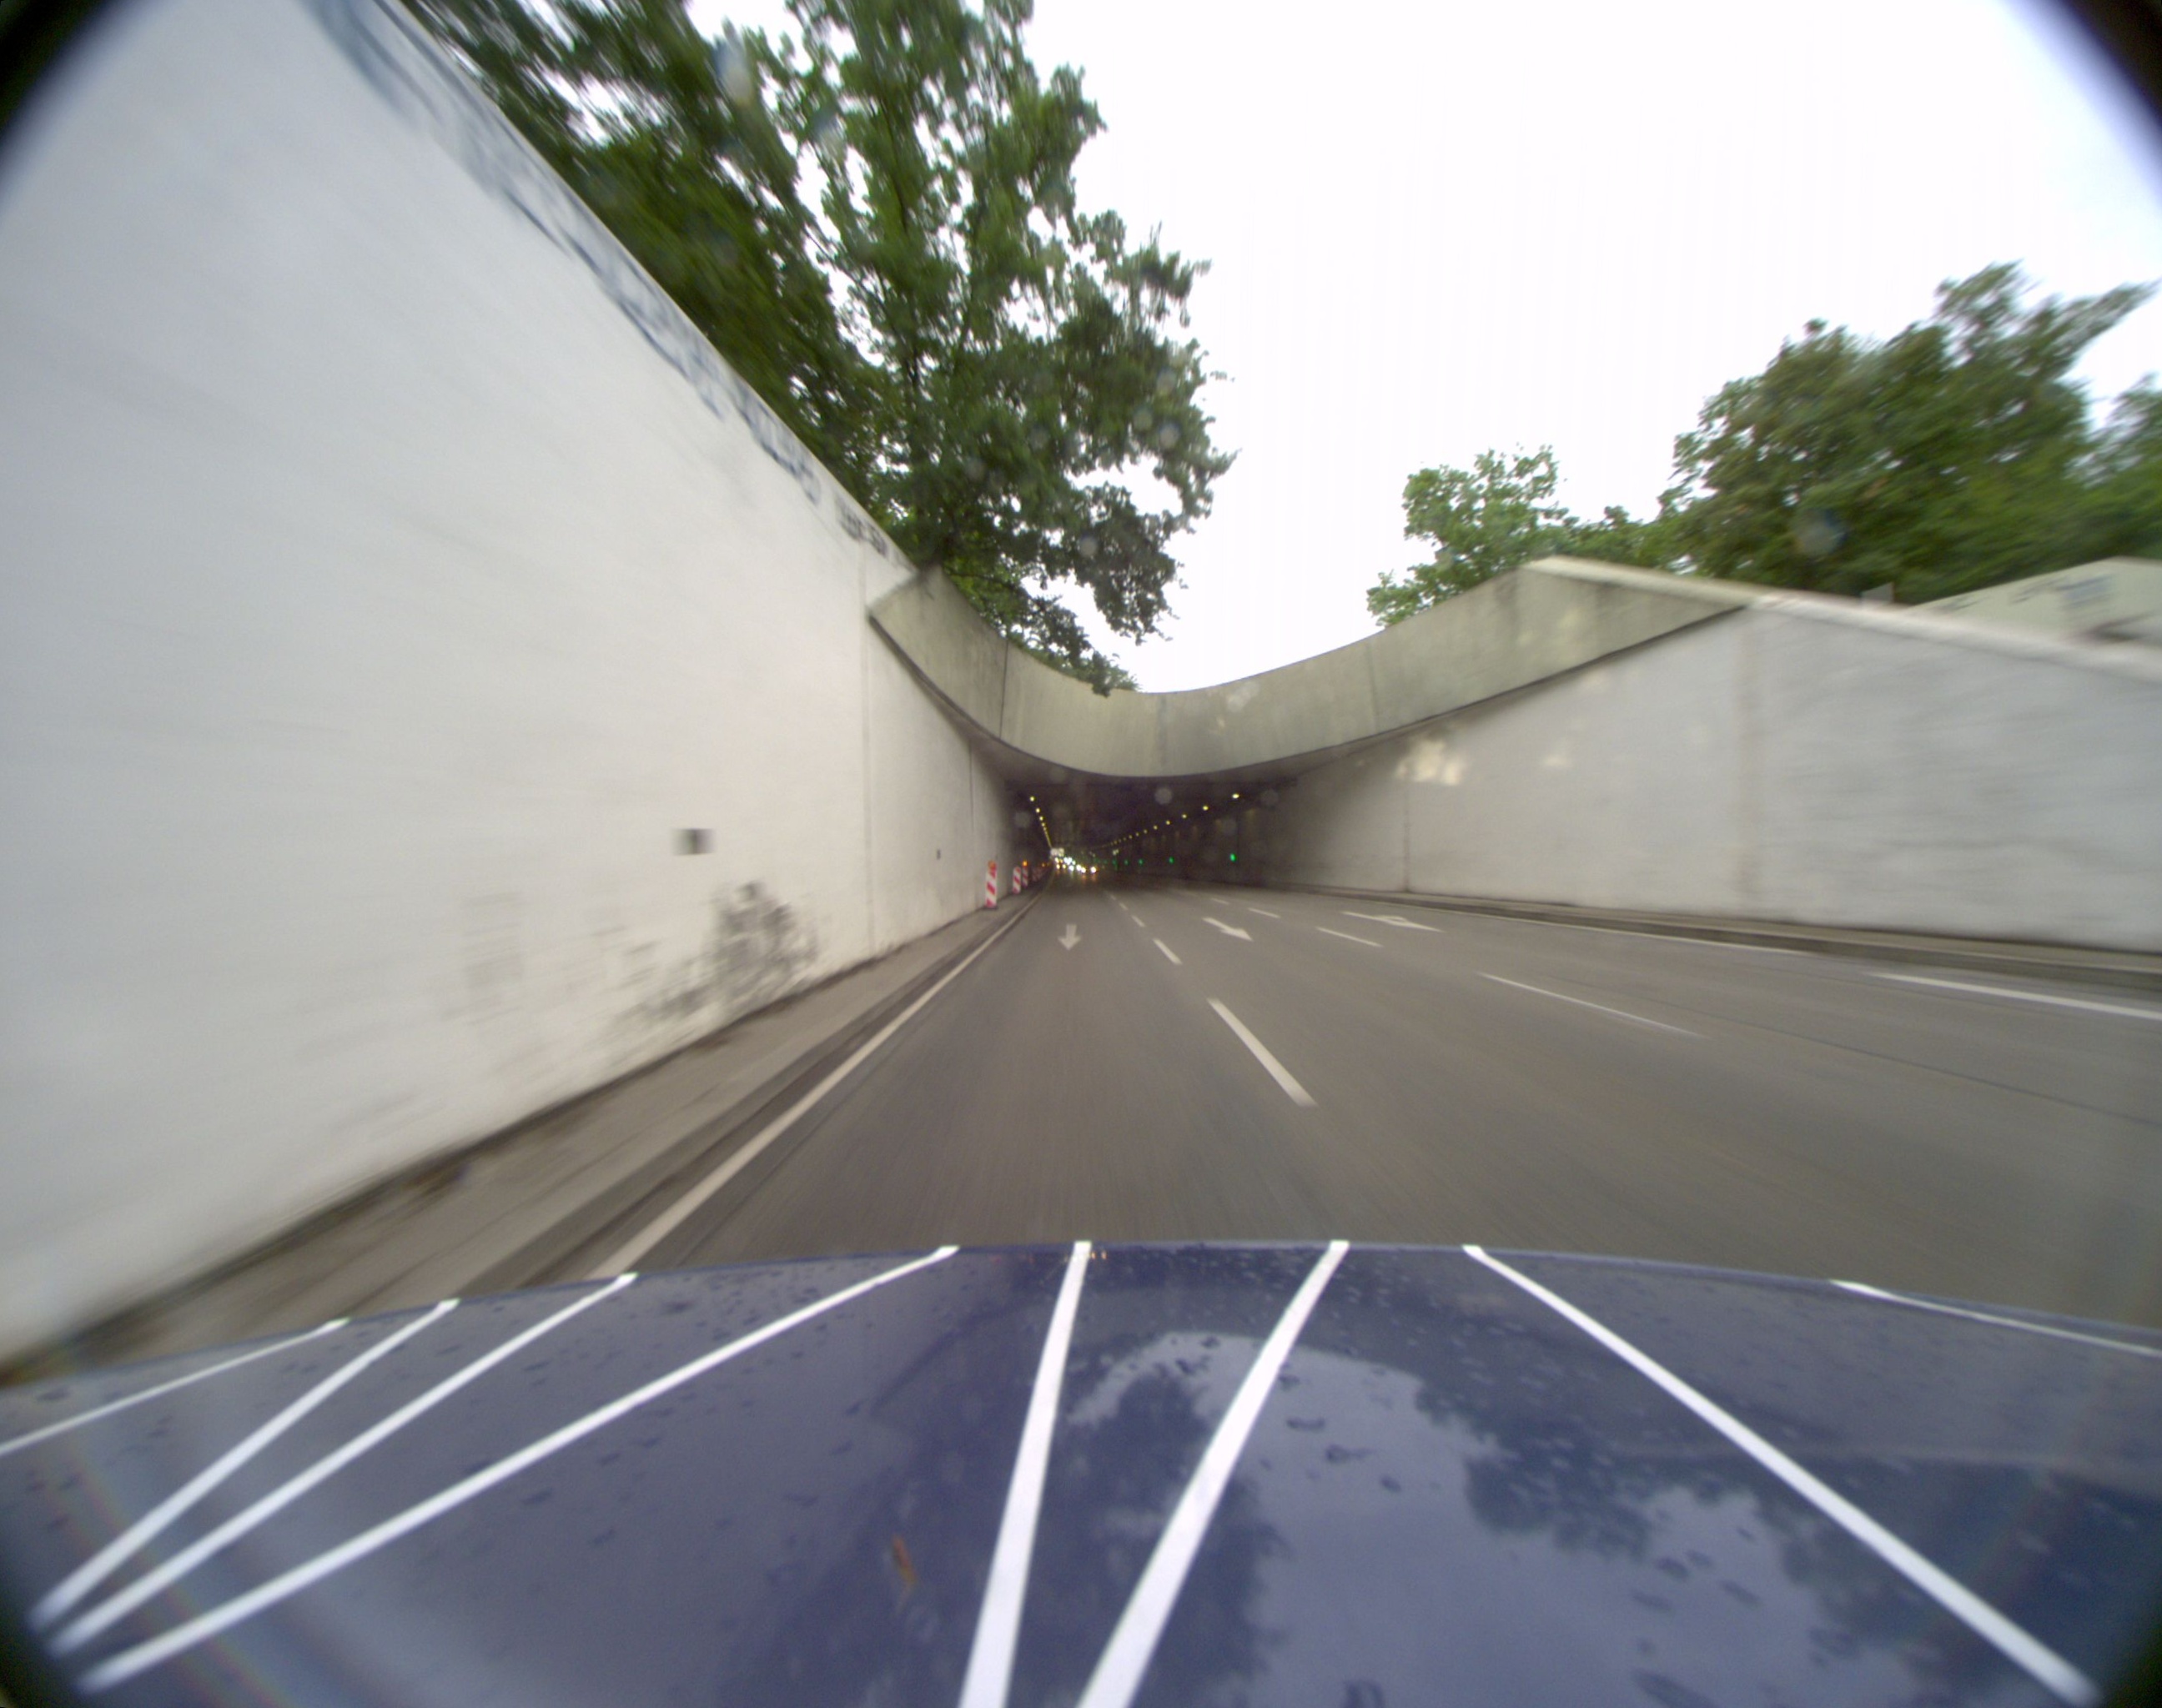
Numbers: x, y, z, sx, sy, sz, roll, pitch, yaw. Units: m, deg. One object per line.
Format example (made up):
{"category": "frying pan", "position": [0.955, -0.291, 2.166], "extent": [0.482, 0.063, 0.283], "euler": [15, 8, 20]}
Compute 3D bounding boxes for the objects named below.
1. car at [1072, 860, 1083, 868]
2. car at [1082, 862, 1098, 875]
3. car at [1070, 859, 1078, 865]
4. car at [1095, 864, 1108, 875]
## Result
{"category": "car", "position": [-0.690, 1.941, 149.292], "extent": [1.999, 1.685, 4.000], "euler": [0, 0, -1]}
{"category": "car", "position": [1.232, 2.022, 106.390], "extent": [1.999, 1.685, 4.000], "euler": [0, 0, -1]}
{"category": "car", "position": [-2.073, 2.354, 223.397], "extent": [1.999, 1.756, 3.999], "euler": [-2, 1, -1]}
{"category": "car", "position": [3.473, 2.557, 128.134], "extent": [1.999, 1.685, 4.000], "euler": [2, -1, -1]}
